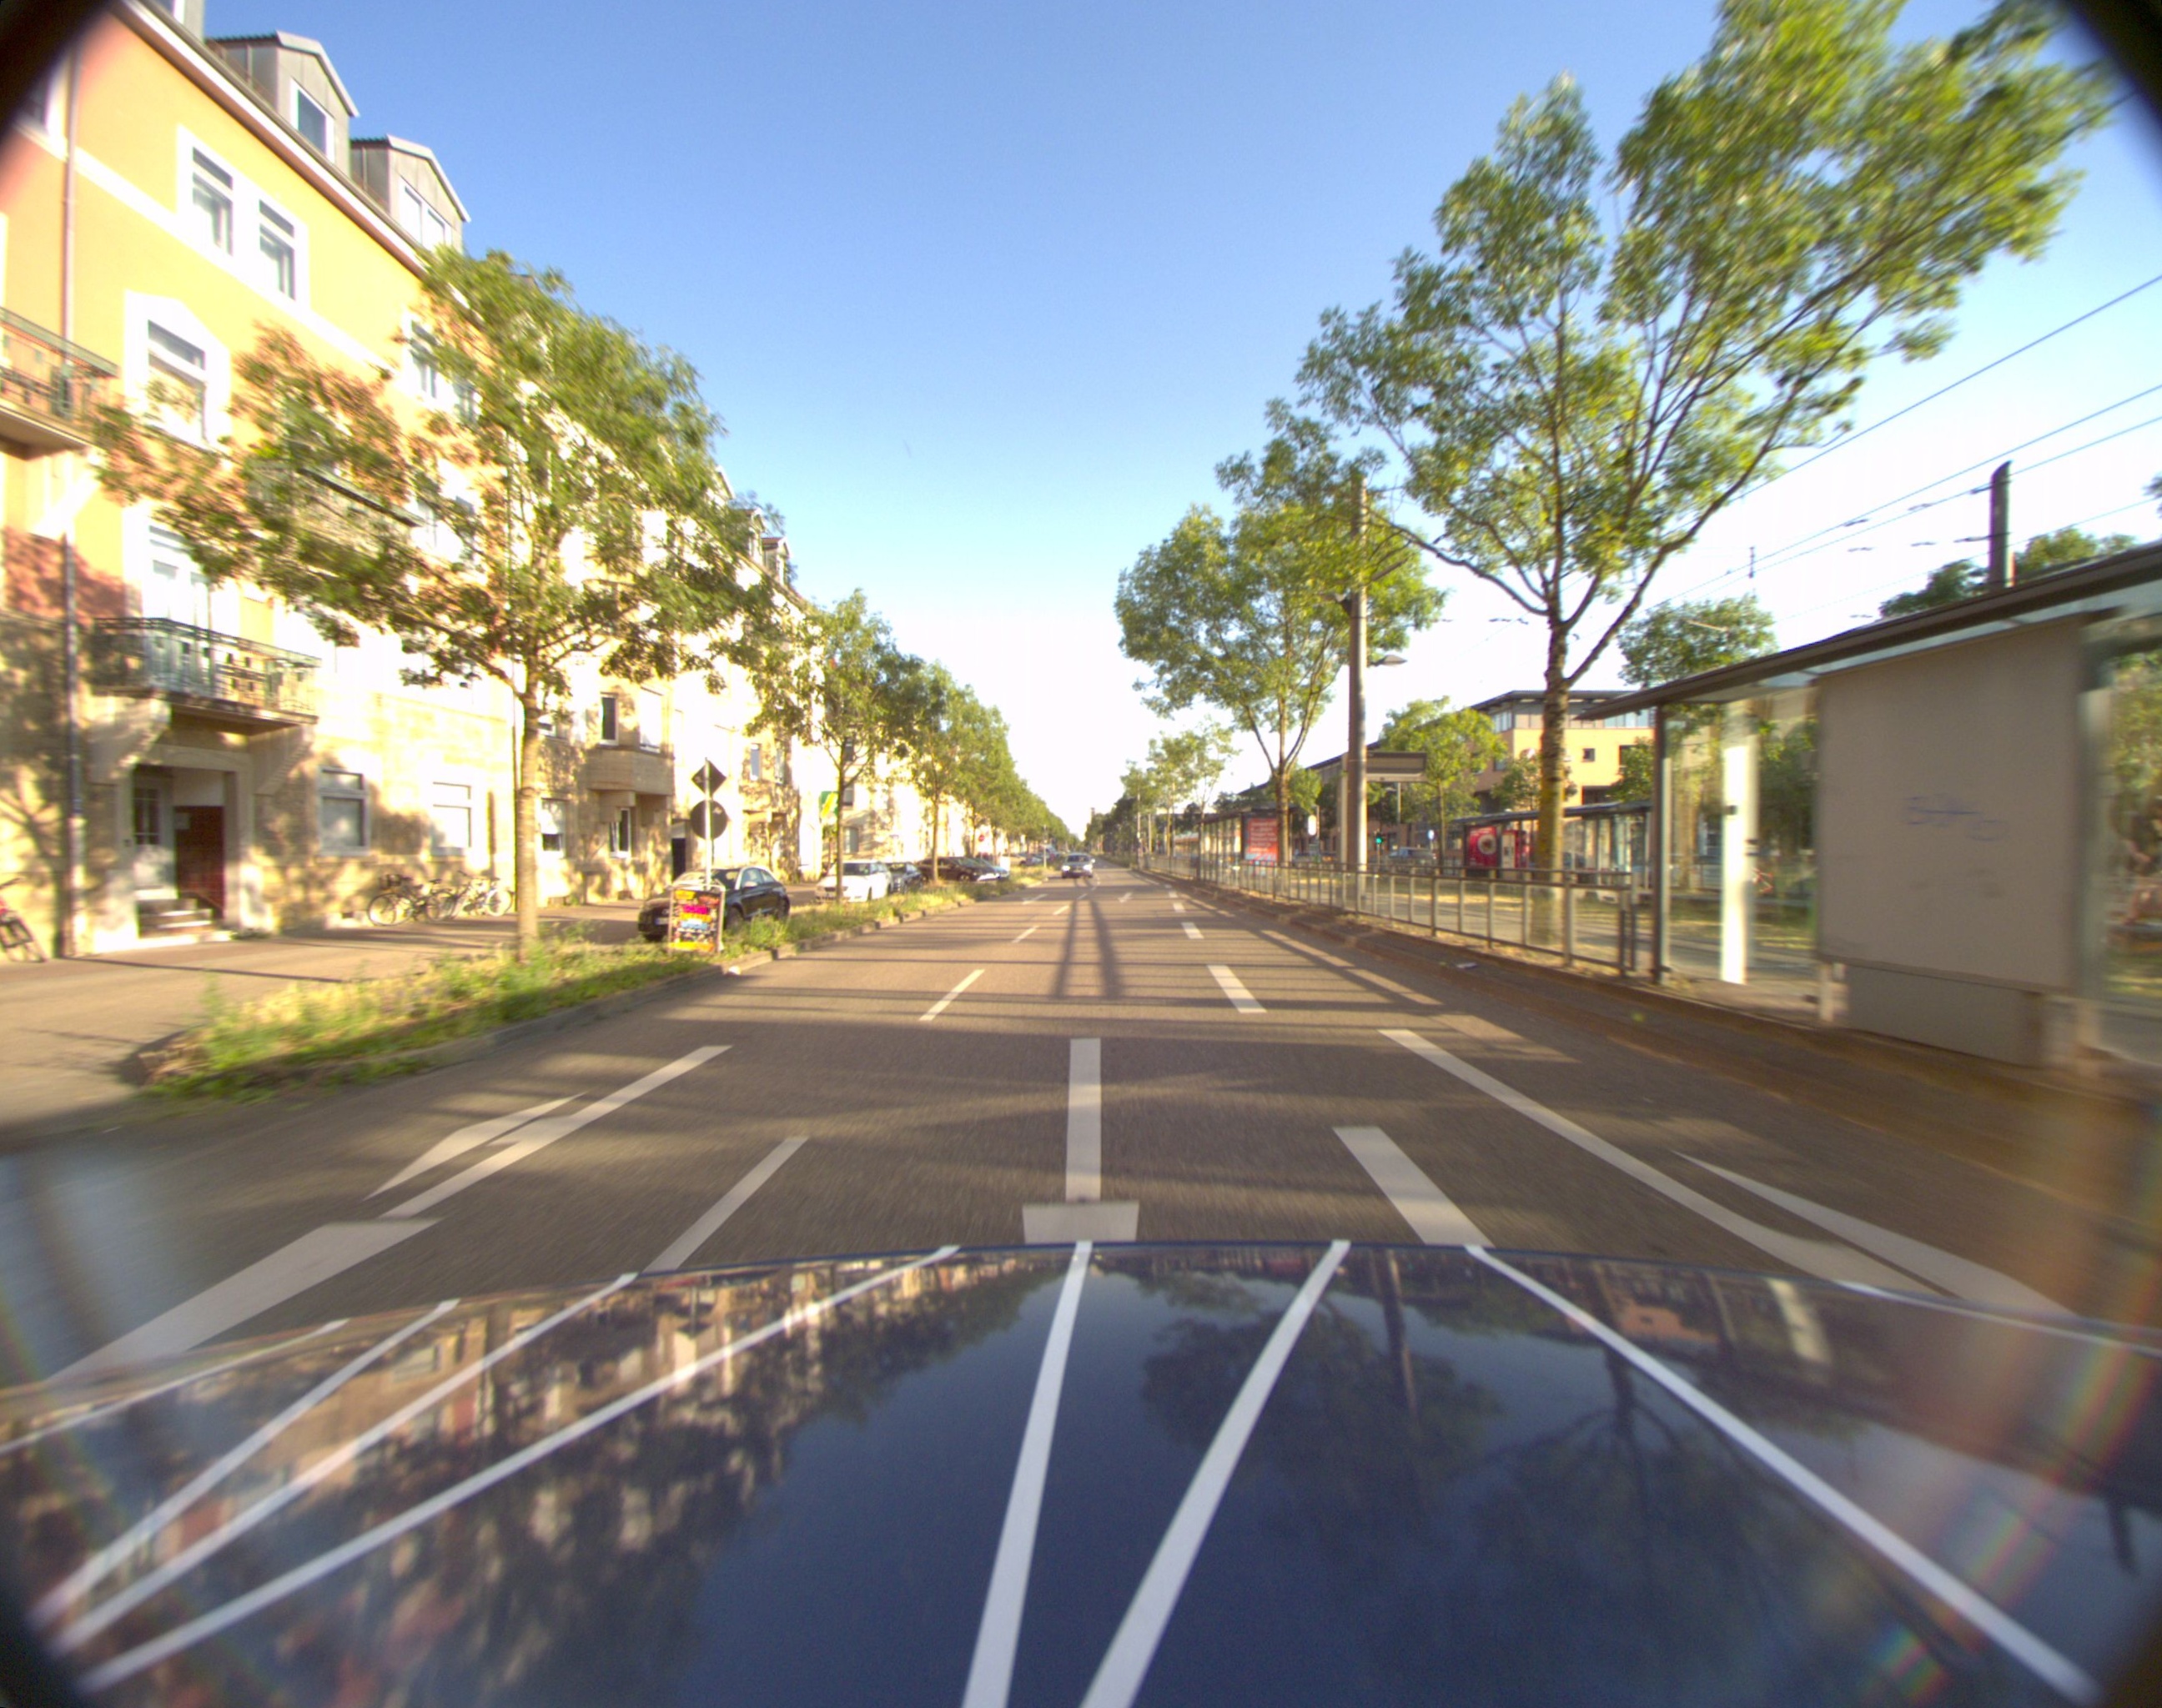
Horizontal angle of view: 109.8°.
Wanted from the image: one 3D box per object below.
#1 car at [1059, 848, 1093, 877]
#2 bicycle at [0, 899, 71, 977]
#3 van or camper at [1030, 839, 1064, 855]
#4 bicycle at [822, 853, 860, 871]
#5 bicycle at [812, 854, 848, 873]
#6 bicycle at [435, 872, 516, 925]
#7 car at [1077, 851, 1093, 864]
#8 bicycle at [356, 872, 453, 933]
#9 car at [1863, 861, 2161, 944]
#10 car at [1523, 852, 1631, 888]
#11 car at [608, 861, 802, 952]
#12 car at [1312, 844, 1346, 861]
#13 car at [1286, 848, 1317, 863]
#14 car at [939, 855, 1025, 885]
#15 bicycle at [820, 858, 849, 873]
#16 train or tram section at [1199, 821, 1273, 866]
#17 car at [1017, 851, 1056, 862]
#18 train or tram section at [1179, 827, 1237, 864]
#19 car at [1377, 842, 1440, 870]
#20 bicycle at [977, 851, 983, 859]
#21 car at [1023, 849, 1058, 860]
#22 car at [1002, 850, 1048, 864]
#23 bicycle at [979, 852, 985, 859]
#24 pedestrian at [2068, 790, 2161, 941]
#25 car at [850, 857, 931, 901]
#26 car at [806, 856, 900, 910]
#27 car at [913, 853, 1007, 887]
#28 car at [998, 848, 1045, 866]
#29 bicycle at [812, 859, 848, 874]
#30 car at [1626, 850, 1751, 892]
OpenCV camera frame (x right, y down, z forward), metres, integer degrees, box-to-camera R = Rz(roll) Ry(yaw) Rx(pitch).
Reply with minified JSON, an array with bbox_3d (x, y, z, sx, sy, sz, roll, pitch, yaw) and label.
[{"bbox_3d":[-0.274,0.472,46.529,1.998,1.655,3.999,0,1,0],"label":"car"},{"bbox_3d":[-14.743,1.159,10.020,0.484,0.999,1.746,-1,1,1],"label":"bicycle"},{"bbox_3d":[-6.036,-1.258,133.753,5.635,2.796,2.208,0,1,32],"label":"van or camper"},{"bbox_3d":[-18.425,0.634,58.383,2.672,1.376,0.730,0,1,-3],"label":"bicycle"},{"bbox_3d":[-18.446,0.701,55.900,2.356,1.312,0.730,0,1,-3],"label":"bicycle"},{"bbox_3d":[-14.733,1.059,18.542,0.484,1.158,1.746,5,1,1],"label":"bicycle"},{"bbox_3d":[0.521,0.476,98.192,1.870,1.587,3.952,-1,1,2],"label":"car"},{"bbox_3d":[-14.753,1.030,16.638,0.484,1.158,1.746,5,1,1],"label":"bicycle"},{"bbox_3d":[19.905,0.921,16.292,1.799,1.407,4.340,-2,1,0],"label":"car"},{"bbox_3d":[19.555,0.605,30.168,1.697,1.290,4.000,-1,1,1],"label":"car"},{"bbox_3d":[-7.441,0.946,15.593,1.708,1.440,4.288,-3,0,1],"label":"car"},{"bbox_3d":[20.300,-0.161,62.335,1.544,1.290,3.689,0,1,0],"label":"car"},{"bbox_3d":[22.583,0.131,77.863,1.867,1.499,3.999,-1,1,-2],"label":"car"},{"bbox_3d":[-5.269,0.818,40.324,4.275,1.513,1.850,-1,1,33],"label":"car"},{"bbox_3d":[-18.440,0.854,56.862,1.977,1.117,0.575,0,1,-3],"label":"bicycle"},{"bbox_3d":[12.497,-0.853,62.933,3.439,3.320,13.855,-1,1,0],"label":"train or tram section"},{"bbox_3d":[-5.579,0.274,94.062,4.570,1.340,1.900,0,1,33],"label":"car"},{"bbox_3d":[12.648,-0.852,77.455,3.439,3.410,15.025,-1,1,0],"label":"train or tram section"},{"bbox_3d":[19.041,0.092,44.392,1.866,1.499,4.360,-1,1,1],"label":"car"},{"bbox_3d":[-14.442,0.134,109.022,0.589,1.072,2.227,1,1,0],"label":"bicycle"},{"bbox_3d":[-5.563,0.037,104.015,4.633,1.501,1.851,0,1,36],"label":"car"},{"bbox_3d":[-5.962,0.313,81.307,4.542,1.392,2.034,0,1,31],"label":"car"},{"bbox_3d":[-14.447,0.160,111.153,0.580,0.985,1.927,0,1,0],"label":"bicycle"},{"bbox_3d":[14.755,0.143,10.491,0.771,2.002,1.127,0,1,3],"label":"pedestrian"},{"bbox_3d":[-7.542,0.941,30.592,1.950,1.436,4.908,-3,1,0],"label":"car"},{"bbox_3d":[-7.374,0.882,25.057,1.730,1.503,4.271,-3,0,0],"label":"car"},{"bbox_3d":[-6.054,0.817,37.919,4.330,1.562,2.005,-2,0,33],"label":"car"},{"bbox_3d":[-5.874,0.289,75.284,4.420,1.681,1.920,-1,1,35],"label":"car"},{"bbox_3d":[-18.215,0.922,55.112,2.334,1.044,0.730,0,1,-3],"label":"bicycle"},{"bbox_3d":[22.404,0.576,28.209,1.615,1.368,3.749,3,1,1],"label":"car"}]
